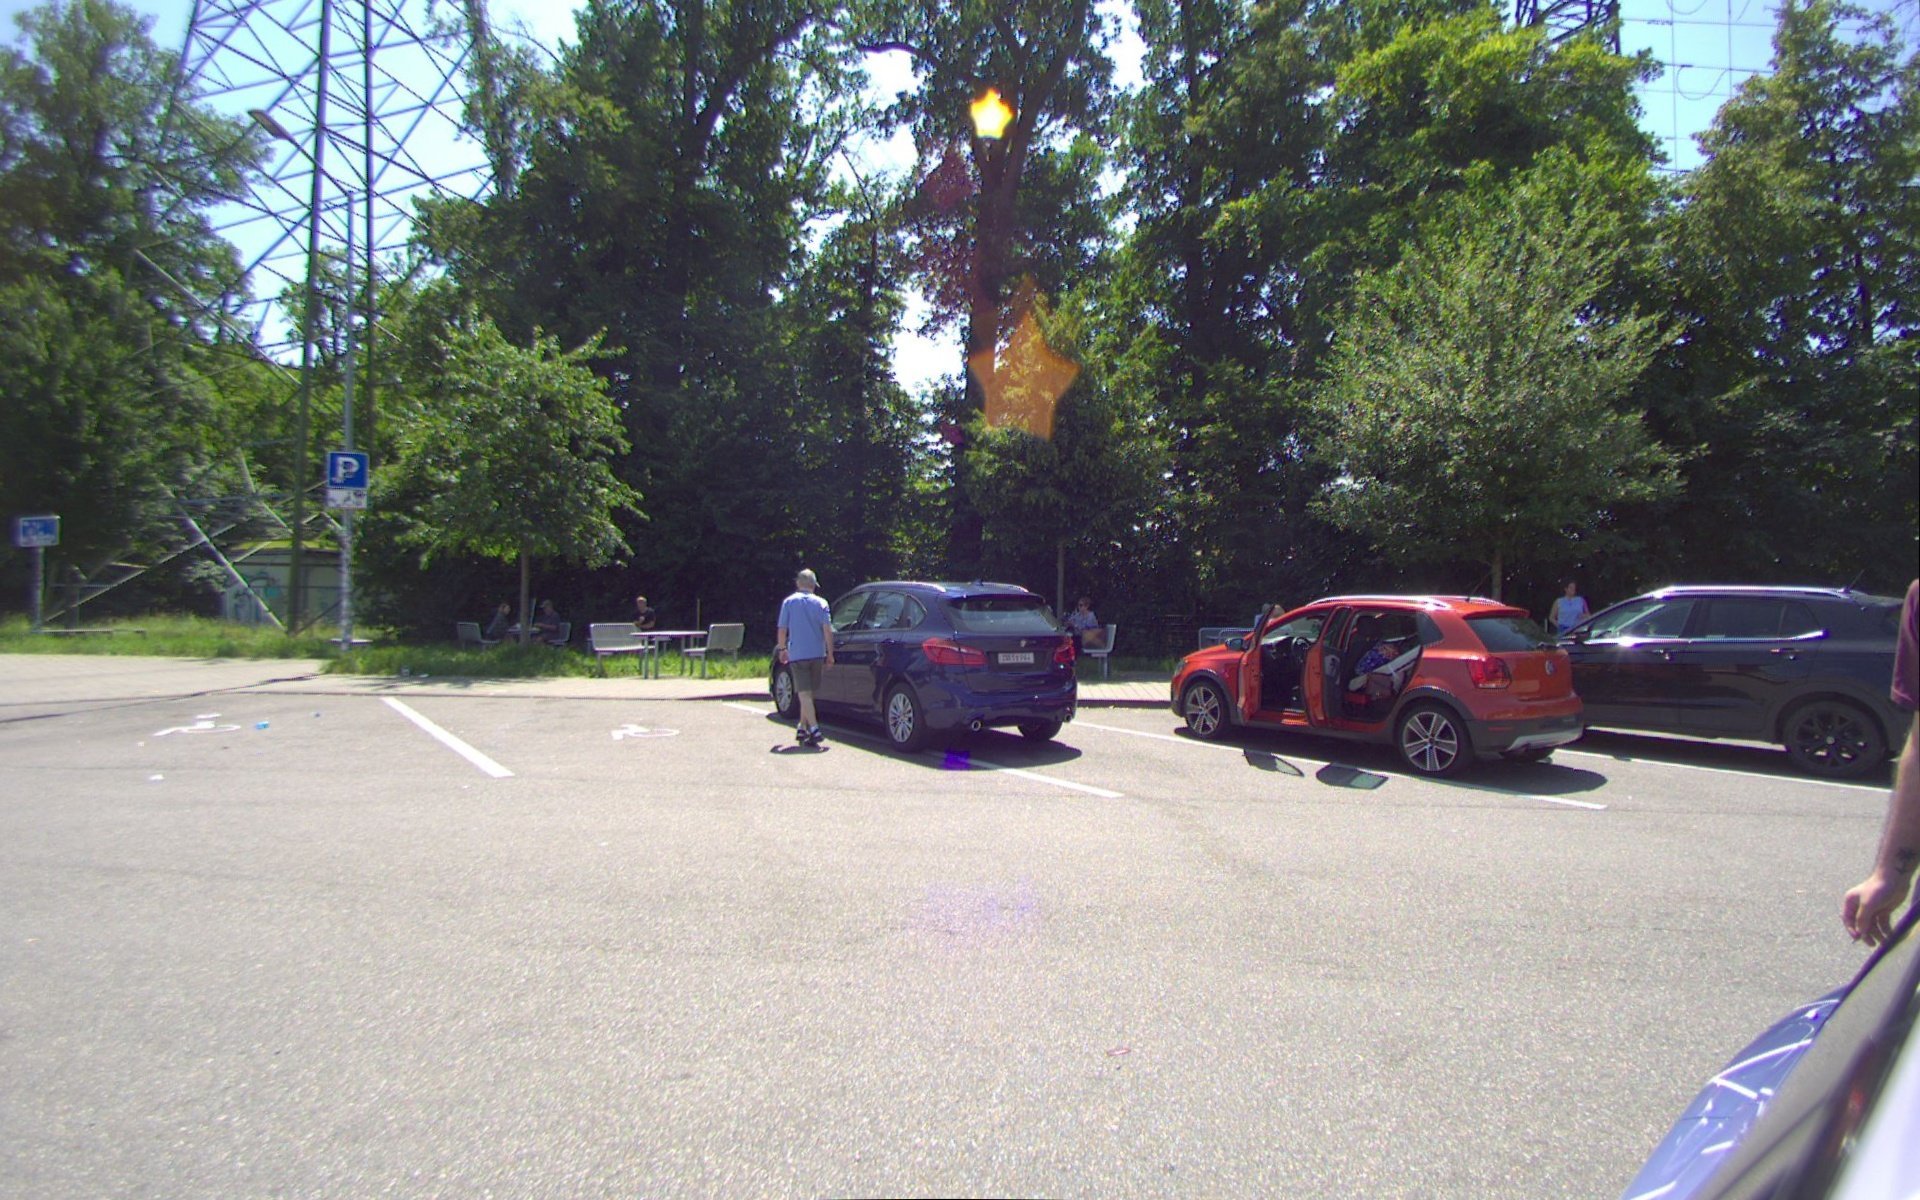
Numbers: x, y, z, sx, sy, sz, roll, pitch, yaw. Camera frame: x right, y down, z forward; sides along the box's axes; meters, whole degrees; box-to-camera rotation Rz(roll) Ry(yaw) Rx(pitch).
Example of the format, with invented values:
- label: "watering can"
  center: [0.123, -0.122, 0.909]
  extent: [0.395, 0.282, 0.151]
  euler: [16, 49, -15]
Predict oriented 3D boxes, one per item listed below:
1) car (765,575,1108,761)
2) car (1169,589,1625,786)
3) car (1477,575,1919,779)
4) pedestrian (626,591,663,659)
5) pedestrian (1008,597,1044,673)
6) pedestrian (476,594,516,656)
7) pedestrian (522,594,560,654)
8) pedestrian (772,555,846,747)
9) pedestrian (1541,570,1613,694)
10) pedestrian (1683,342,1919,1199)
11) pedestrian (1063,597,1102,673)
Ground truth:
- label: "car"
  center: [-0.443, 0.555, 10.677]
  extent: [1.776, 1.562, 3.940]
  euler: [1, 0, -34]
- label: "car"
  center: [3.894, 0.643, 9.604]
  extent: [1.559, 1.467, 3.737]
  euler: [1, 0, -33]
- label: "car"
  center: [7.259, 0.593, 9.718]
  extent: [1.707, 1.607, 3.732]
  euler: [1, 0, -39]
- label: "pedestrian"
  center: [-6.648, 0.517, 21.329]
  extent: [0.553, 1.408, 0.700]
  euler: [0, 0, 2]
- label: "pedestrian"
  center: [1.109, 0.581, 17.092]
  extent: [0.576, 1.251, 0.697]
  euler: [0, -1, 1]
- label: "pedestrian"
  center: [-10.477, 0.551, 22.852]
  extent: [0.687, 1.352, 0.563]
  euler: [0, 0, -40]
- label: "pedestrian"
  center: [-9.719, 0.541, 23.490]
  extent: [0.687, 1.352, 0.563]
  euler: [0, 0, -40]
- label: "pedestrian"
  center: [-1.457, 0.467, 9.750]
  extent: [0.662, 1.754, 0.835]
  euler: [0, 0, -9]
- label: "pedestrian"
  center: [9.354, 0.478, 15.355]
  extent: [0.751, 1.854, 0.520]
  euler: [0, 0, 2]
- label: "pedestrian"
  center: [1.935, 0.544, 1.765]
  extent: [0.853, 1.857, 0.856]
  euler: [0, 0, 17]
- label: "pedestrian"
  center: [2.056, 0.577, 17.026]
  extent: [0.576, 1.251, 0.697]
  euler: [0, -1, 1]
